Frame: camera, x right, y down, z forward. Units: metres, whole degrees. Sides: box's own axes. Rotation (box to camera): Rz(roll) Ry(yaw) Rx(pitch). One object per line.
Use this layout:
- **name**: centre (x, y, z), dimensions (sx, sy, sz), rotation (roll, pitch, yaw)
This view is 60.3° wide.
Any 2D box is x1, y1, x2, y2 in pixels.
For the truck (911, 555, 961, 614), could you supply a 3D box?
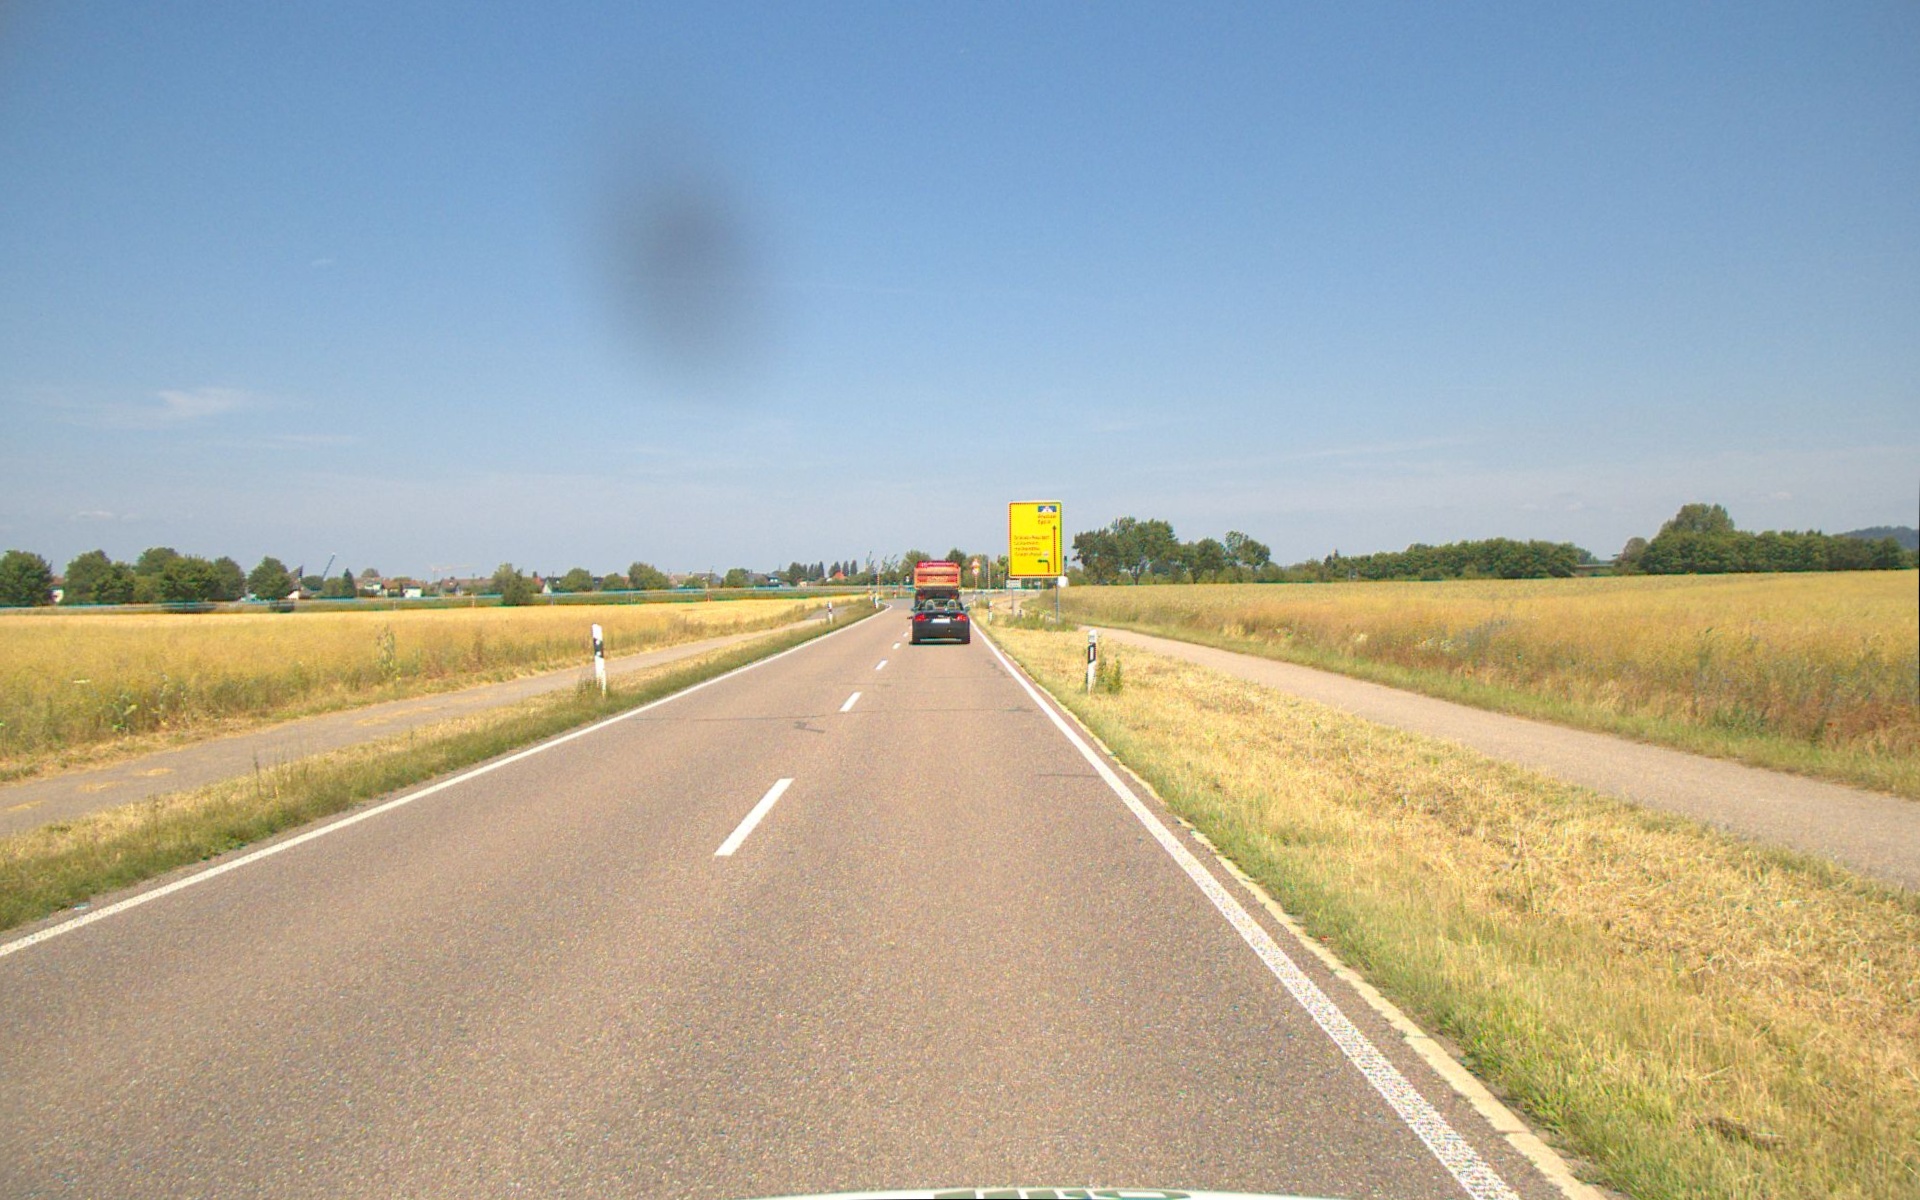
- **truck**: centre (-1.325, -0.802, 91.409), dimensions (2.659, 3.106, 8.163), rotation (0, 0, -1)

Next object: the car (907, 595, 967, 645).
- **car**: centre (-0.673, 0.573, 49.221), dimensions (1.712, 1.400, 3.678), rotation (1, 0, -1)
